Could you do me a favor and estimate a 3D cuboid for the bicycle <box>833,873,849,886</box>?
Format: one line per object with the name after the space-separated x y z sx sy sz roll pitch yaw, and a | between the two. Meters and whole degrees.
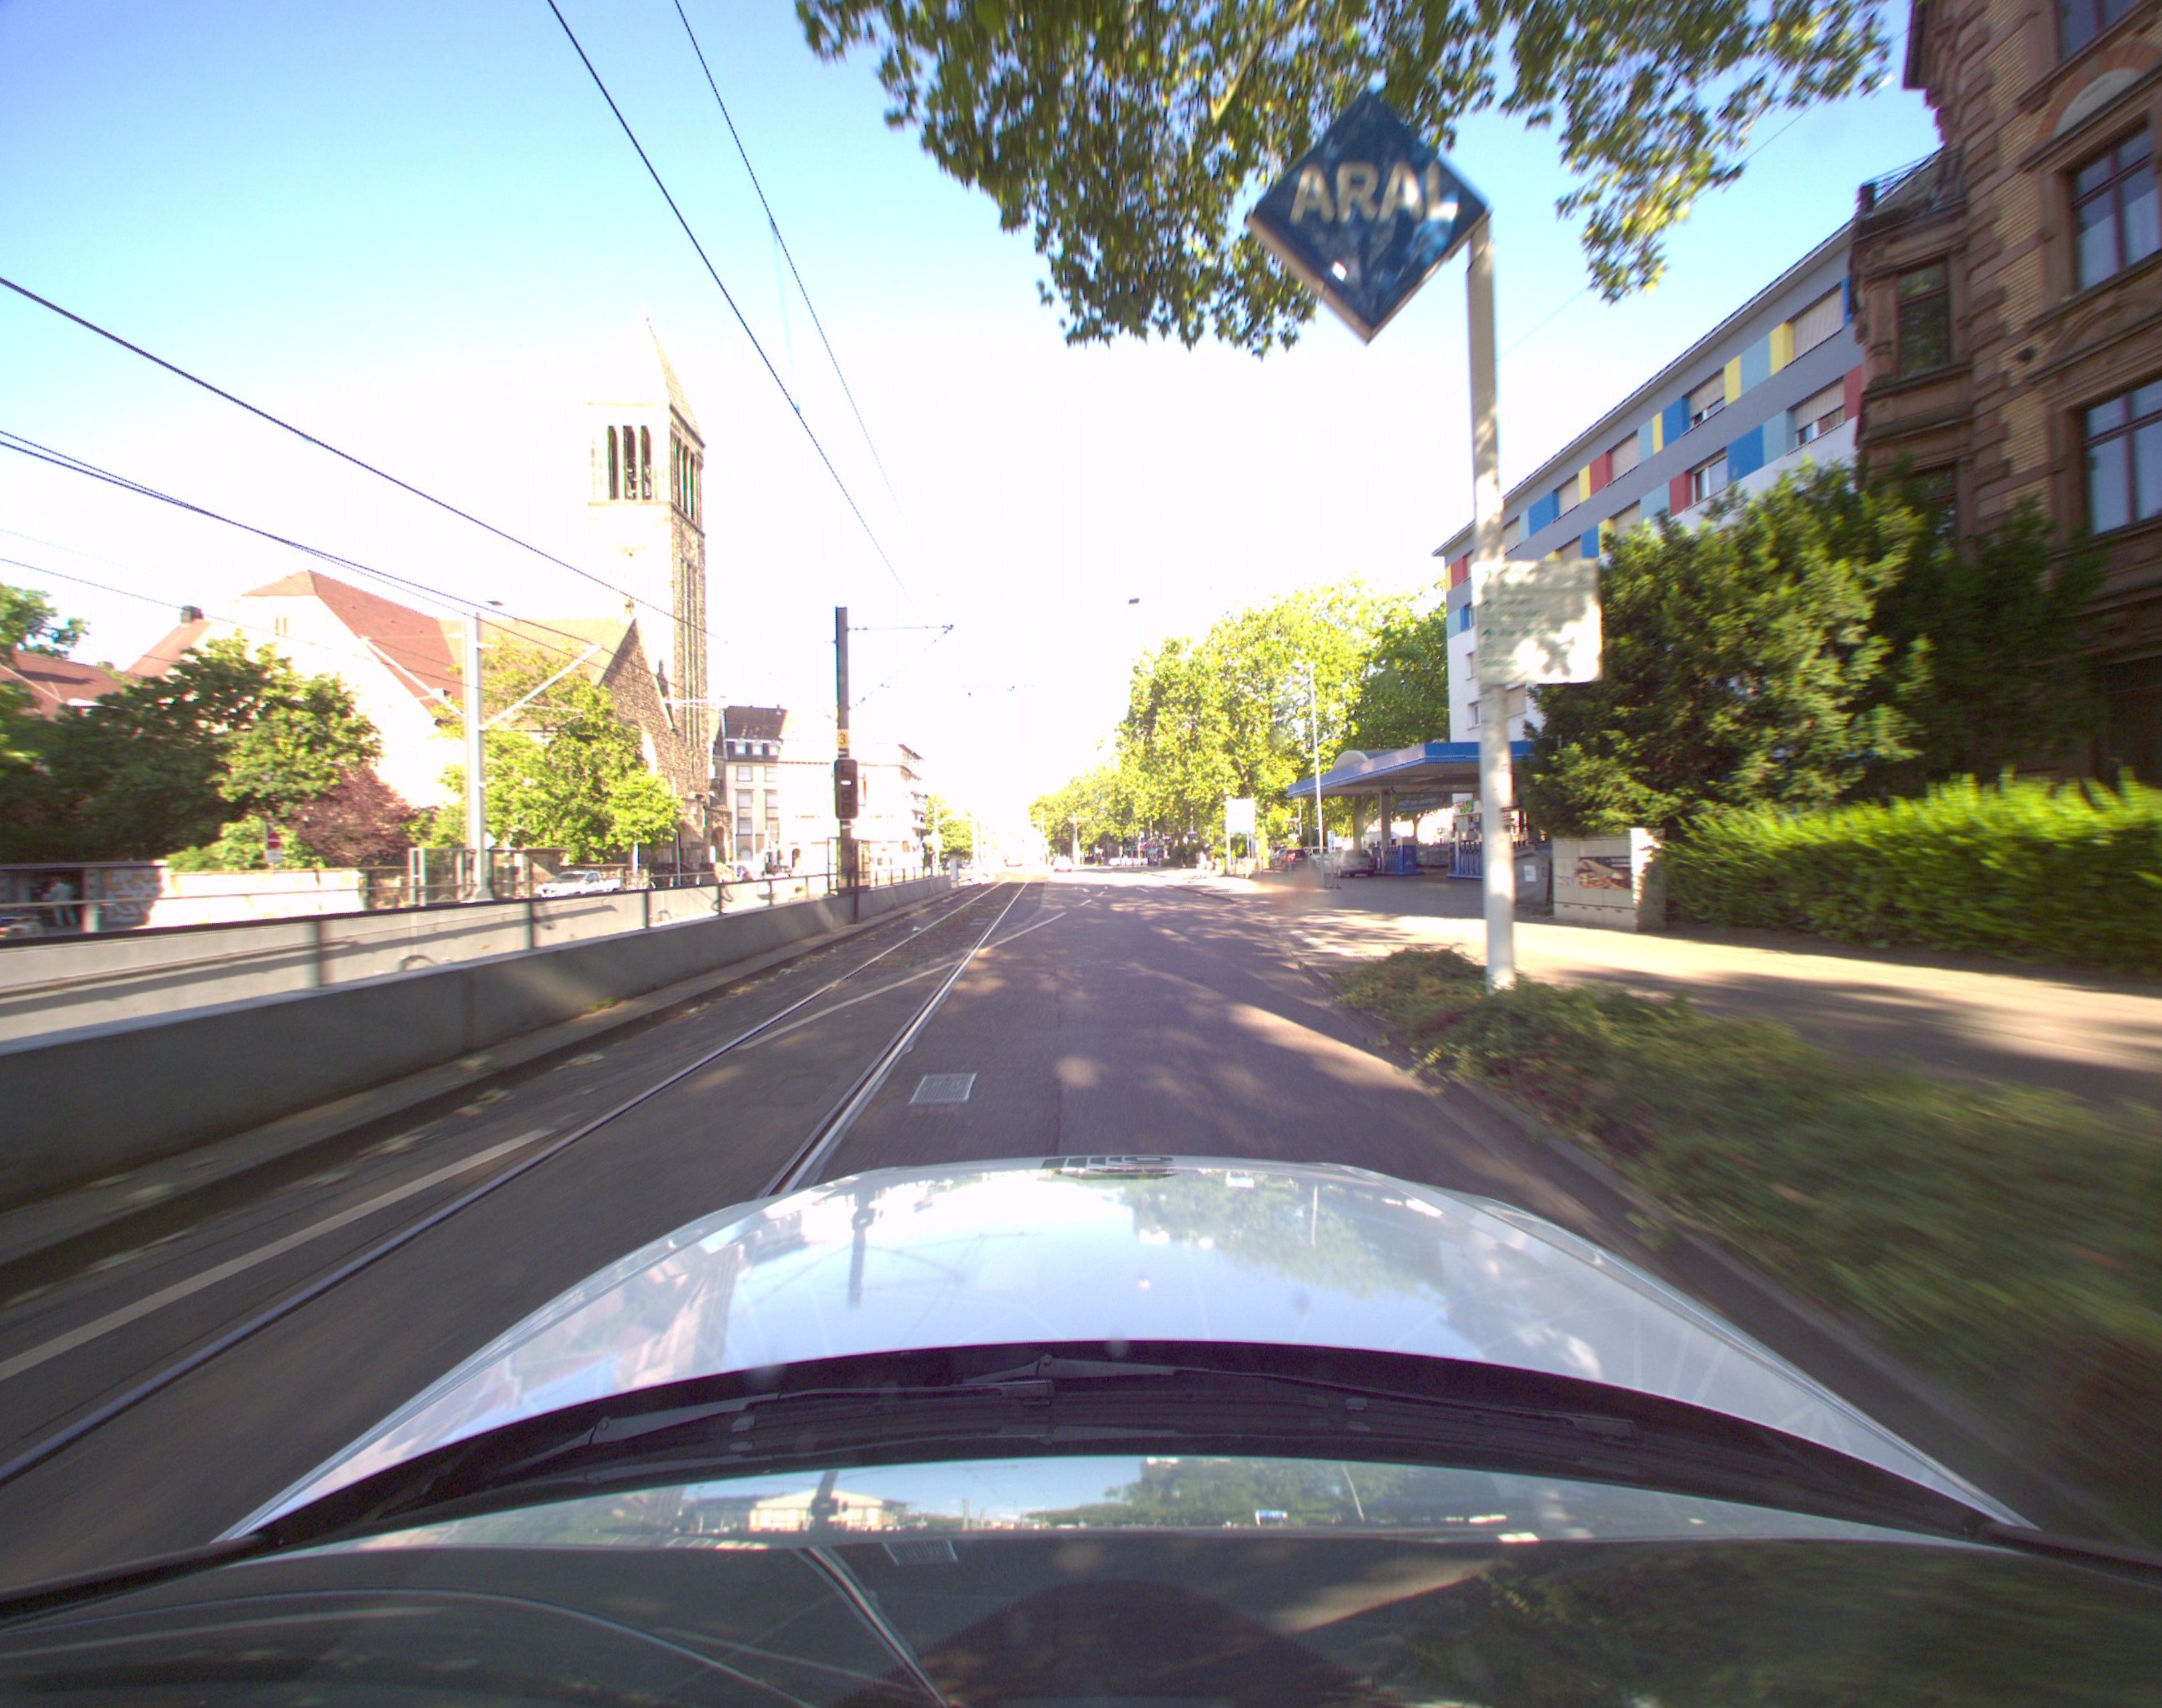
-22.800 2.429 77.375 0.628 1.144 2.282 -4 0 5 | bicycle

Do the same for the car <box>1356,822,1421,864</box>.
22.301 -0.728 59.387 2.235 2.833 5.792 -2 0 -2 | car

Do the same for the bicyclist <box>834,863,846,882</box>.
-22.855 1.752 77.232 0.628 1.722 0.917 -4 0 4 | bicyclist

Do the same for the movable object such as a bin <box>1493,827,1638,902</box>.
10.426 0.213 17.644 2.033 1.491 1.742 -2 0 -7 | movable object such as a bin

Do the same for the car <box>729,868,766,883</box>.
-42.003 2.743 102.599 4.539 1.753 2.013 0 0 32 | car

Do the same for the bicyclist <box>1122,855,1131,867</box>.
6.620 1.032 118.058 1.200 1.696 0.900 0 0 -12 | bicyclist

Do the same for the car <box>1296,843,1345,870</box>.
17.041 0.129 58.192 1.855 1.735 4.794 -2 1 -2 | car

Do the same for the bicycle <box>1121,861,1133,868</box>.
6.630 1.482 118.036 1.199 0.934 2.564 0 0 -12 | bicycle

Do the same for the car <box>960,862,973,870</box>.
-23.150 2.360 164.543 1.988 1.449 4.836 -2 0 -2 | car

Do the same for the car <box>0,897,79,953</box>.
-35.513 2.357 26.213 3.979 1.651 1.817 -3 0 -4 | car

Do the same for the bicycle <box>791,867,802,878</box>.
-36.724 2.373 105.176 0.827 1.283 2.538 1 0 -33 | bicycle

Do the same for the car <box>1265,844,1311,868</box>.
14.884 0.091 58.826 1.814 1.602 4.654 -2 1 -5 | car

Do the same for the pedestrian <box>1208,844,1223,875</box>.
7.952 0.339 48.118 0.600 1.776 0.690 -5 -1 1 | pedestrian

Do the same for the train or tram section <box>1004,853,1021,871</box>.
-13.643 1.553 163.124 2.944 3.410 10.783 0 0 -2 | train or tram section

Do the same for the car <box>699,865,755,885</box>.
-30.429 1.818 70.015 3.974 1.629 1.894 0 0 0 | car

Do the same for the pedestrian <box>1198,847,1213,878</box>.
7.360 0.487 48.071 0.600 1.776 0.879 -5 0 1 | pedestrian

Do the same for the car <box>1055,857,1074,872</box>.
-1.651 0.994 80.014 1.741 1.462 3.640 0 0 -3 | car

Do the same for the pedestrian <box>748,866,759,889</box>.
-26.873 1.921 66.880 0.603 1.887 0.757 0 0 0 | pedestrian

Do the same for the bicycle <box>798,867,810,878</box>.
-35.956 2.378 105.677 0.827 1.283 2.538 1 0 -33 | bicycle

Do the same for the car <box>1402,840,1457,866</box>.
24.840 -0.048 58.158 1.990 1.739 3.994 -2 0 -4 | car

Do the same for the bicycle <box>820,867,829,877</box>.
-33.742 2.391 107.057 0.822 1.283 2.555 0 0 -10 | bicycle

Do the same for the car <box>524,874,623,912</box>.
-23.190 1.747 37.425 1.710 1.555 4.508 0 0 0 | car

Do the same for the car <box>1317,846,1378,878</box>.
13.393 0.397 41.170 1.564 1.430 4.094 -2 0 -3 | car

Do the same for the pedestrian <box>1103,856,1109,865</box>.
3.925 1.089 129.551 0.653 1.388 0.837 0 0 30 | pedestrian

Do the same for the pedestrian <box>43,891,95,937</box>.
-36.309 2.138 29.223 0.739 1.588 0.937 0 0 14 | pedestrian

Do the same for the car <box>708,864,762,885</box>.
-30.971 1.813 72.883 3.974 1.756 1.894 0 0 0 | car

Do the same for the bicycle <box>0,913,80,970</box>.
-22.417 1.849 17.437 0.488 1.022 1.877 0 0 -26 | bicycle
